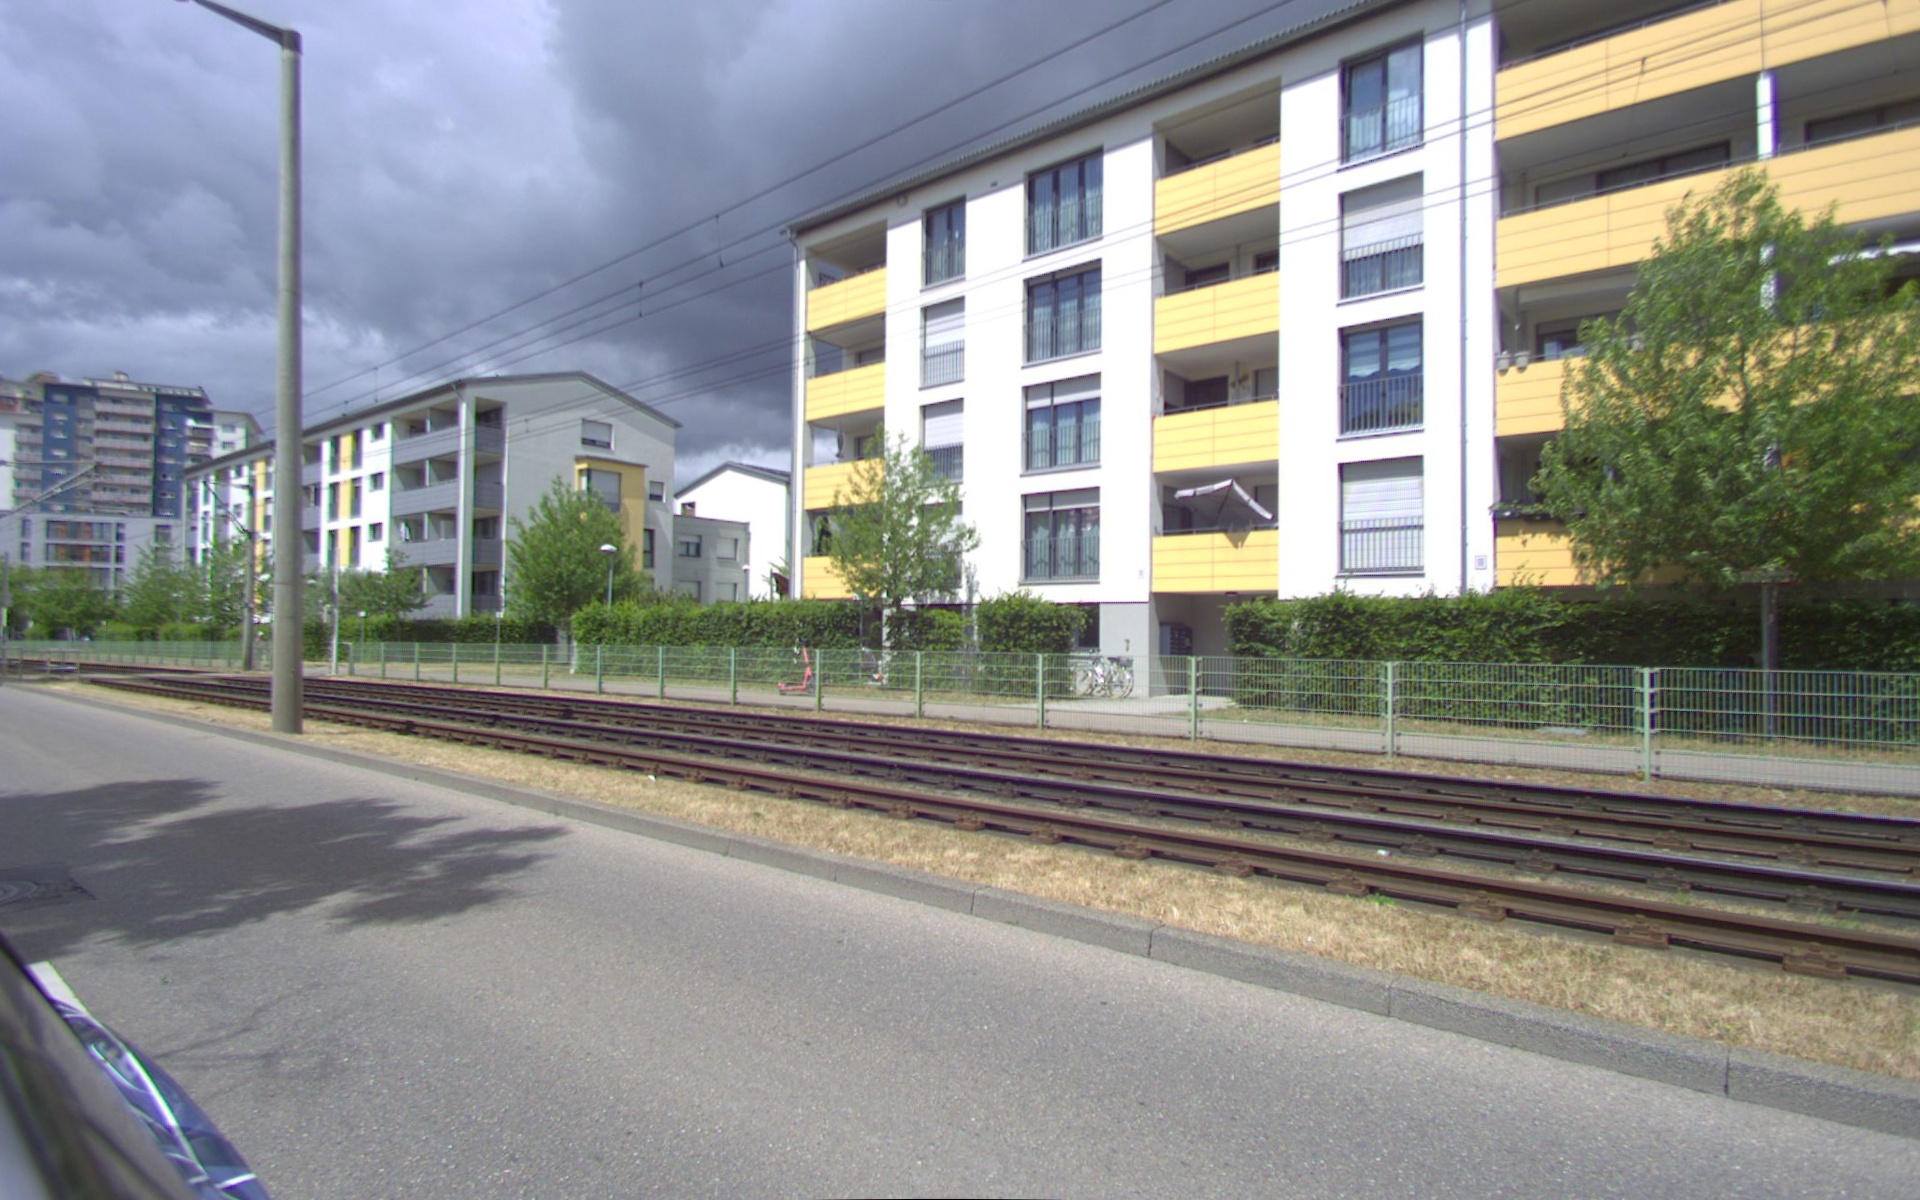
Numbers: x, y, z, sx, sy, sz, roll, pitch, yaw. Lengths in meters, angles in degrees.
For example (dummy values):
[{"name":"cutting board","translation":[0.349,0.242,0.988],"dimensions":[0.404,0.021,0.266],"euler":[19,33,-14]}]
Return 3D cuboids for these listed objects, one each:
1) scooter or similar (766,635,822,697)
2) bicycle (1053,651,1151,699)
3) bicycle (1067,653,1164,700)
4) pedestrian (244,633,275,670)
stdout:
[{"name":"scooter or similar","translation":[-3.611,1.425,22.006],"dimensions":[1.301,1.303,0.485],"euler":[-2,-3,41]},{"name":"bicycle","translation":[3.100,1.624,22.245],"dimensions":[2.212,0.987,0.549],"euler":[-2,-3,42]},{"name":"bicycle","translation":[3.446,1.685,22.626],"dimensions":[2.212,0.987,0.549],"euler":[-2,-3,42]},{"name":"pedestrian","translation":[-28.874,2.101,41.715],"dimensions":[0.994,1.494,0.788],"euler":[-2,-2,38]}]
